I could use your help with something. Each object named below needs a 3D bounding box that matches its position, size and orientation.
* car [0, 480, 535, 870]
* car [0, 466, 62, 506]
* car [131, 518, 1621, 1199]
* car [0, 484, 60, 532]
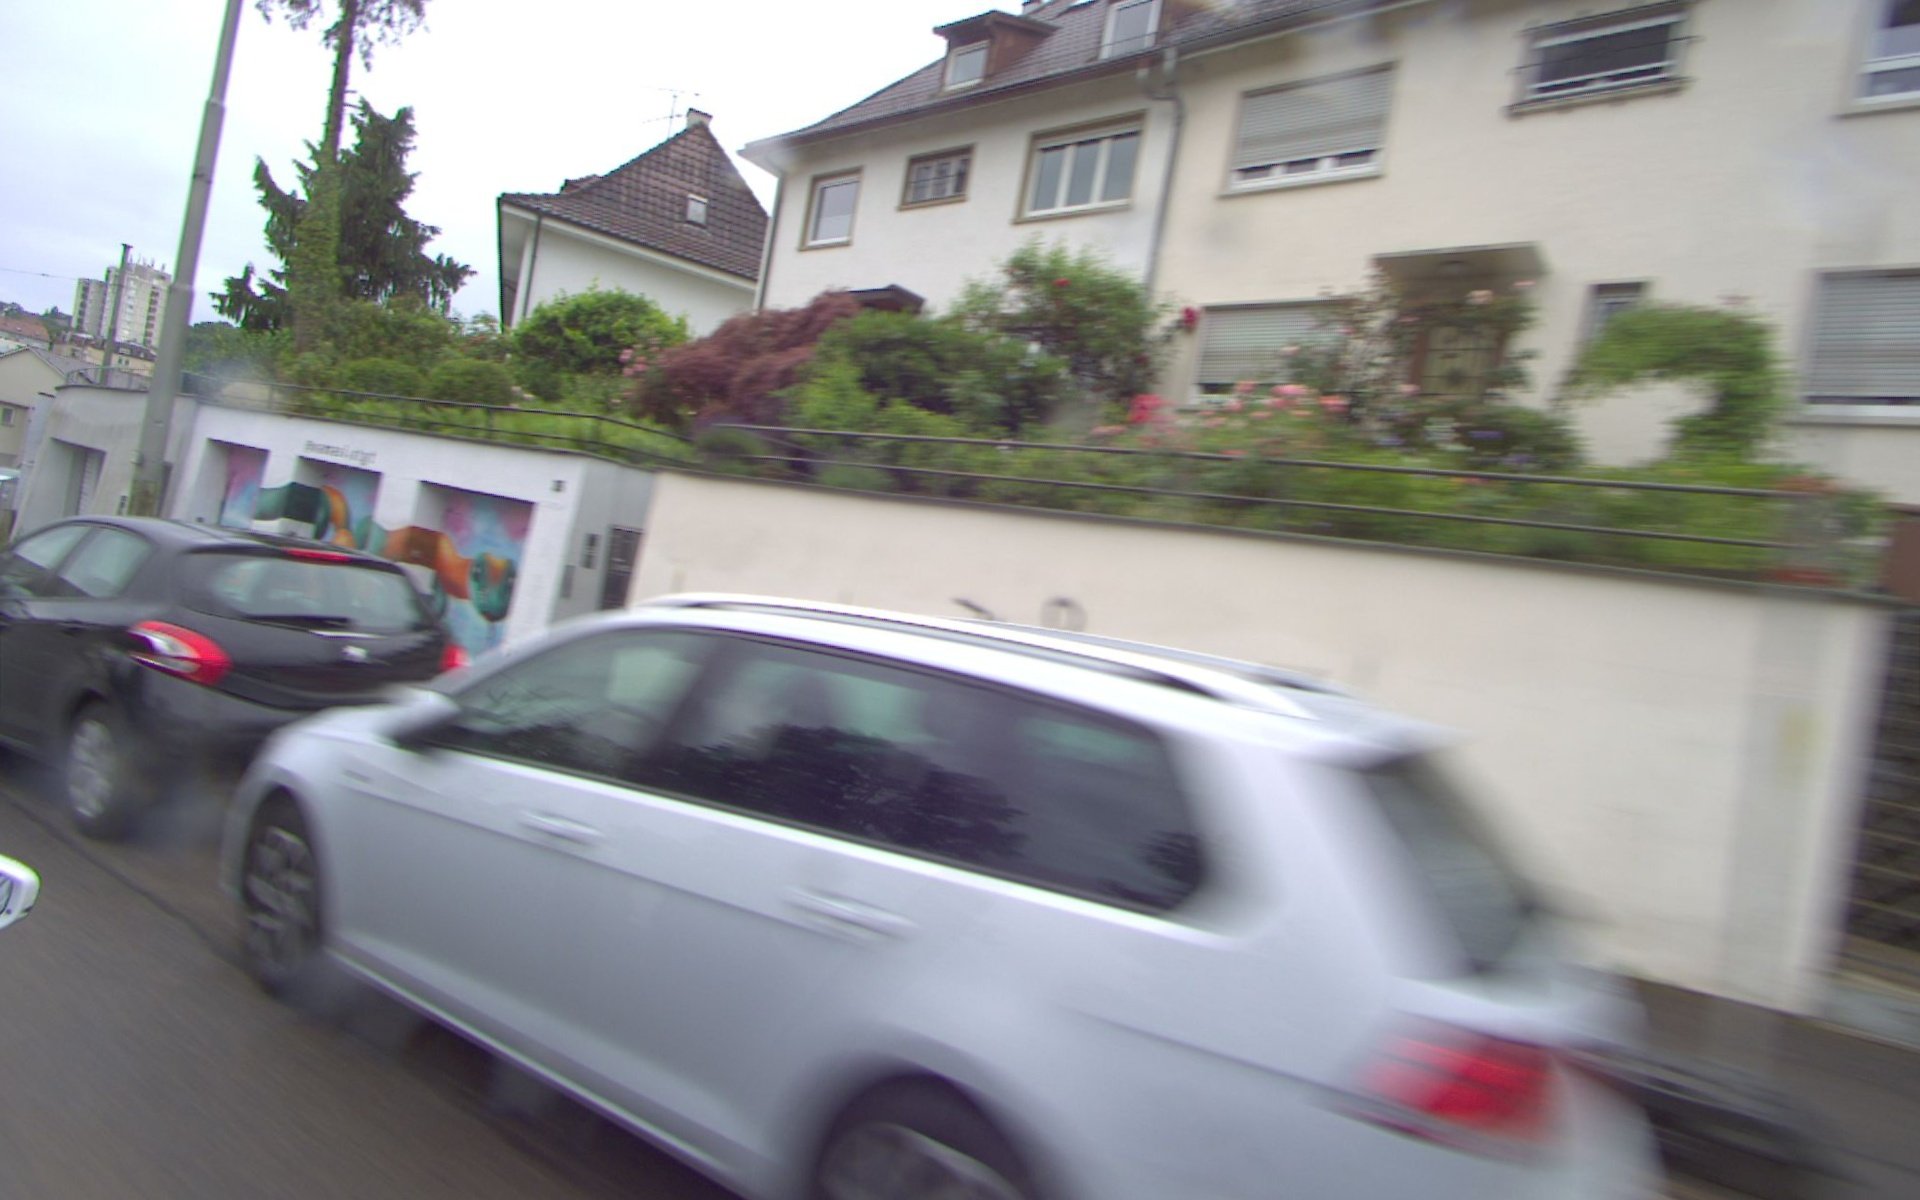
[{"bbox_3d":[-4.580,0.225,5.881,3.932,1.531,1.717,7,-1,30],"label":"car"},{"bbox_3d":[-53.679,-6.594,56.959,1.906,1.648,4.670,12,-3,-11],"label":"car"},{"bbox_3d":[-0.617,0.700,3.175,4.358,1.437,1.783,7,-1,33],"label":"car"},{"bbox_3d":[-36.145,-3.576,37.988,1.664,1.499,4.181,12,-3,-22],"label":"car"}]
